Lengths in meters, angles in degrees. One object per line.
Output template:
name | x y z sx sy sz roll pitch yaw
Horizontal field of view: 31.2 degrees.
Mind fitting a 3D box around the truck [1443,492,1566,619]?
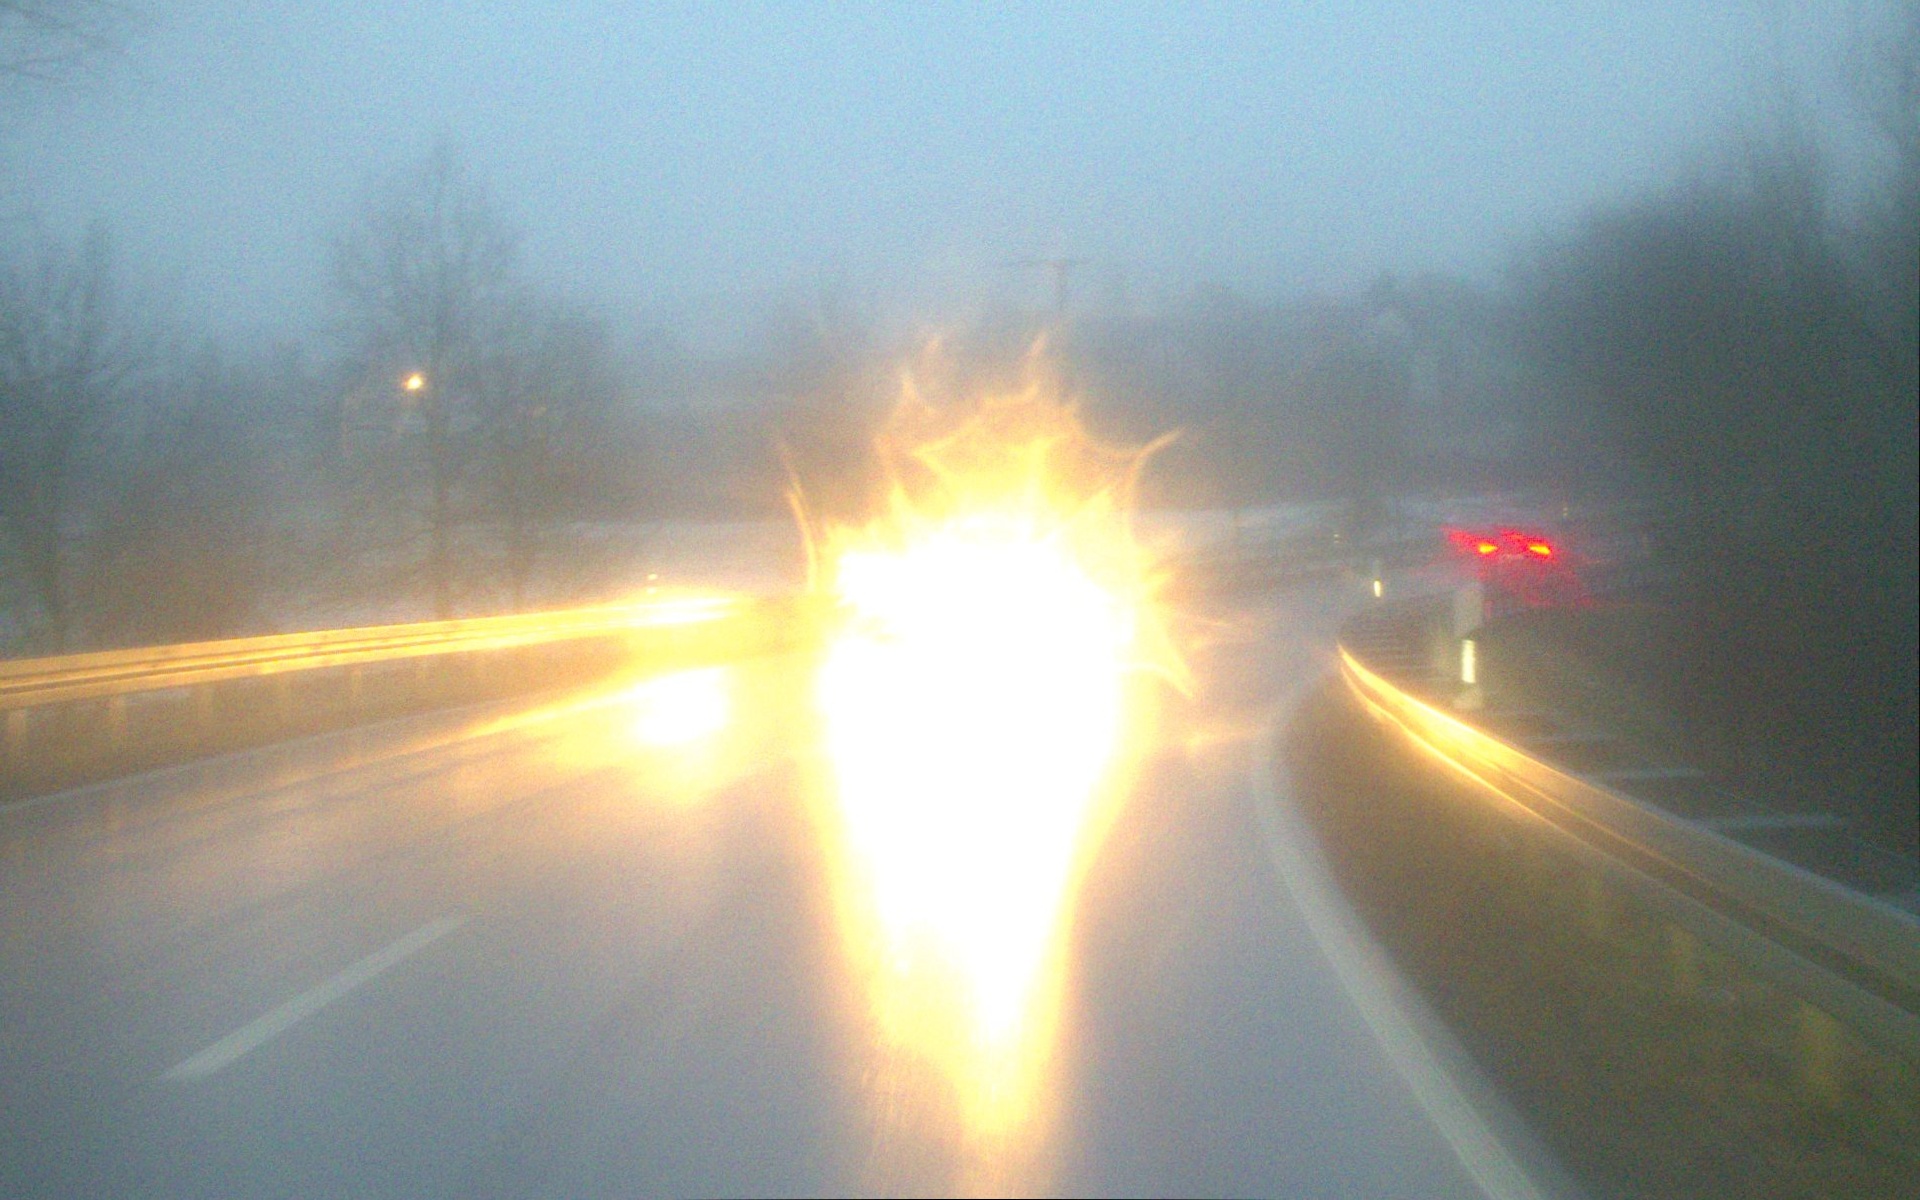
truck | 13.261 -1.131 83.468 2.533 2.859 5.919 -1 2 12

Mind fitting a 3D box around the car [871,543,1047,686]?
car | 0.043 0.153 48.304 1.884 1.857 5.005 0 1 7
